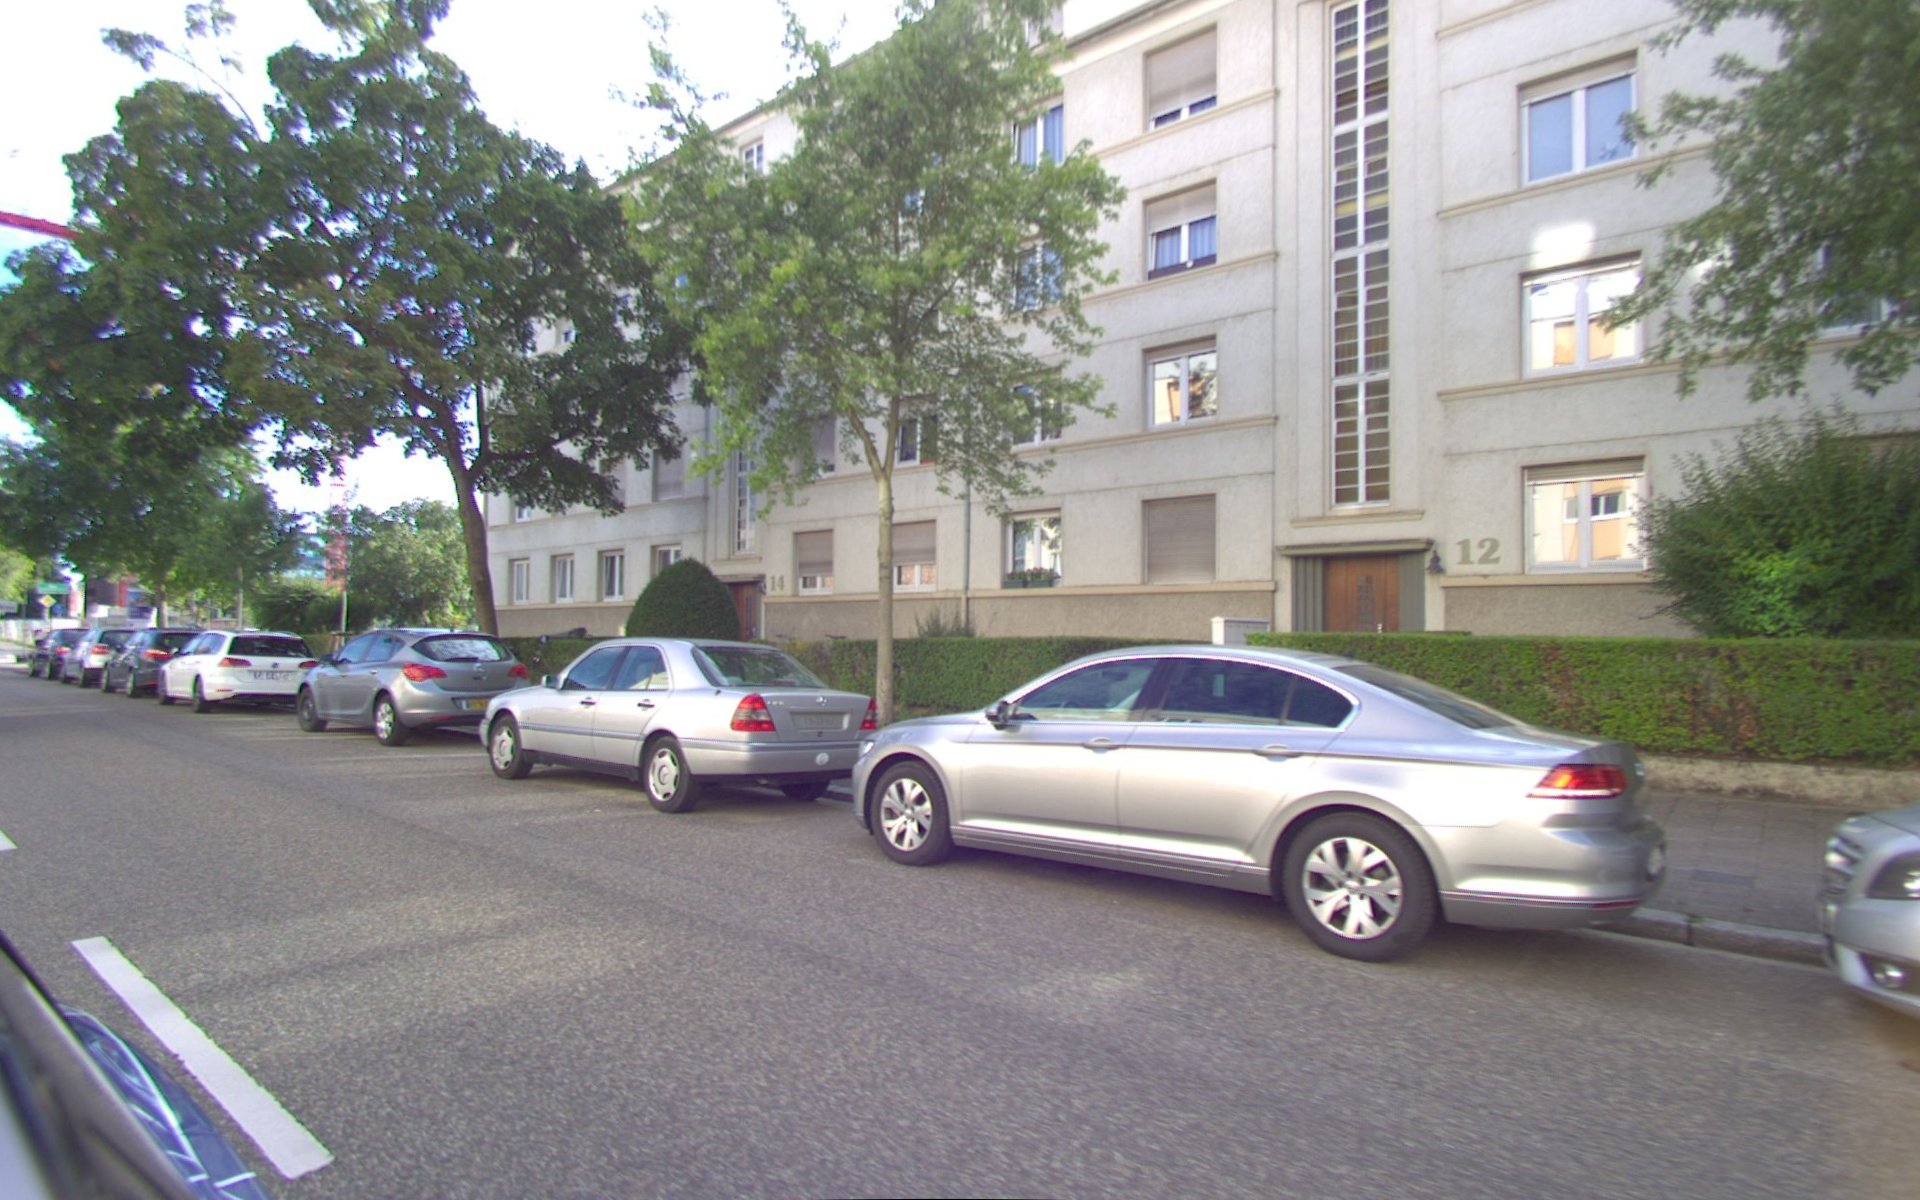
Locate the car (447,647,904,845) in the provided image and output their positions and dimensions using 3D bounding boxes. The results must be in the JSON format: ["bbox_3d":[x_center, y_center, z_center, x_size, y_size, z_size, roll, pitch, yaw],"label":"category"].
[{"bbox_3d":[-2.833,1.188,9.461,4.661,1.404,1.720,-2,-6,40],"label":"car"}]

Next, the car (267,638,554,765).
[{"bbox_3d":[-7.790,1.310,14.157,4.678,1.497,1.837,-2,-4,39],"label":"car"}]

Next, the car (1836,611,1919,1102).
[{"bbox_3d":[5.256,0.828,2.630,4.458,1.585,1.836,-2,-5,41],"label":"car"}]

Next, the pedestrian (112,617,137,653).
[{"bbox_3d":[-41.932,1.746,50.779,0.775,1.782,0.734,-2,-4,39],"label":"pedestrian"}]

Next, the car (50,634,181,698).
[{"bbox_3d":[-21.554,1.660,25.769,4.366,1.497,1.801,-2,-6,41],"label":"car"}]

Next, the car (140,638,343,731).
[{"bbox_3d":[-13.337,1.518,18.666,4.795,1.497,1.836,-2,-7,40],"label":"car"}]

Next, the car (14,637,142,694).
[{"bbox_3d":[-25.414,1.866,29.120,4.415,1.497,1.908,-2,-5,38],"label":"car"}]

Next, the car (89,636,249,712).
[{"bbox_3d":[-17.407,1.554,22.192,4.680,1.497,1.836,-2,-4,40],"label":"car"}]

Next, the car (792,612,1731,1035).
[{"bbox_3d":[1.360,0.941,5.952,4.940,1.497,1.836,-2,-6,40],"label":"car"}]
